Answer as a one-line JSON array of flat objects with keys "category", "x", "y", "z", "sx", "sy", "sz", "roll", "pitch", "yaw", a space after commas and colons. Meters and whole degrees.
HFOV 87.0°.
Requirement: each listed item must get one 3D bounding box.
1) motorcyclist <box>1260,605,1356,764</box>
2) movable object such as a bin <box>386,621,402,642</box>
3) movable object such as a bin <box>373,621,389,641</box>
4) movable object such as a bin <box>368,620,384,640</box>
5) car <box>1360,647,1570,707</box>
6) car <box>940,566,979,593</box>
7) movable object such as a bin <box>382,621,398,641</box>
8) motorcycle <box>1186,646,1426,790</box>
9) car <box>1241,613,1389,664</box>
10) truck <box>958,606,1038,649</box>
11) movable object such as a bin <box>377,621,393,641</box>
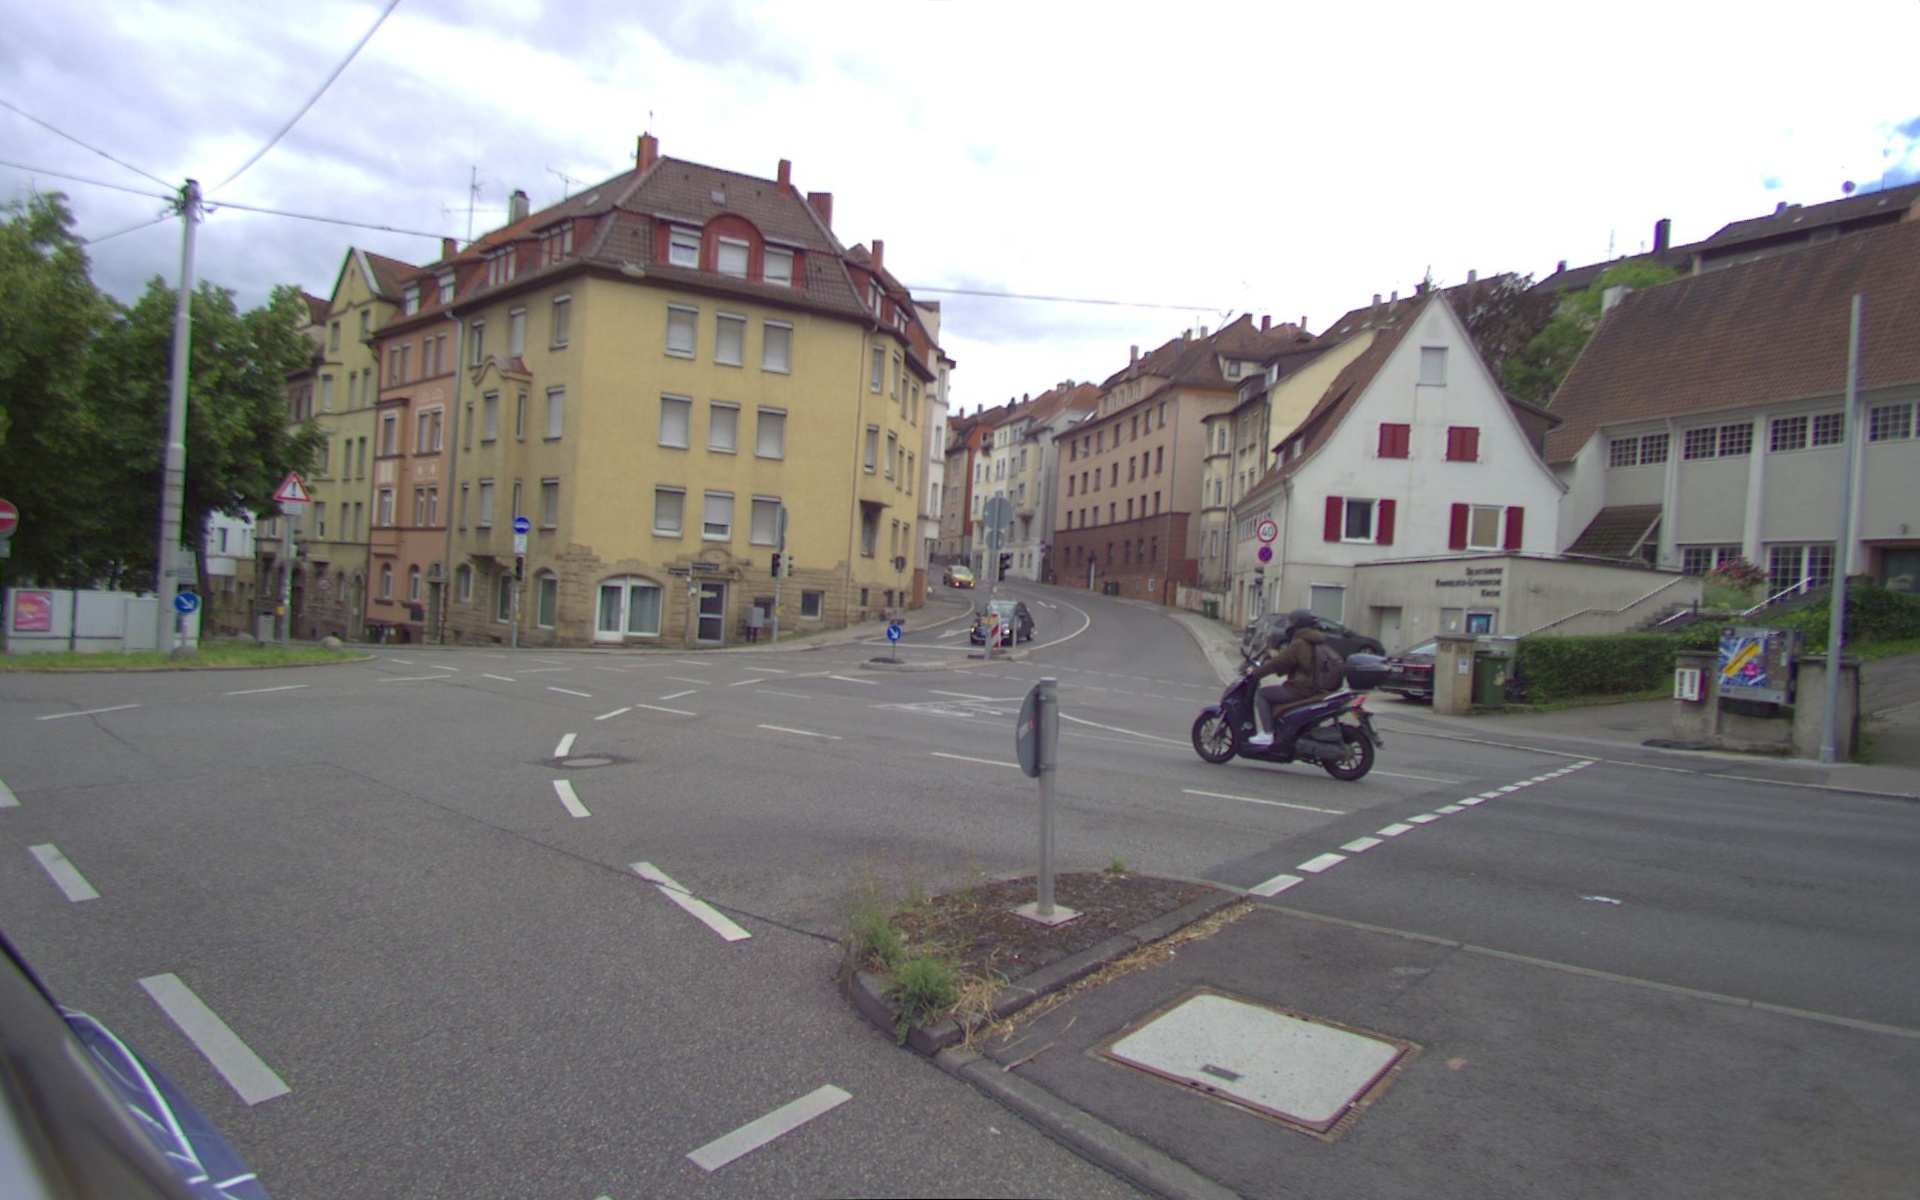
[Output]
[{"category": "motorcyclist", "x": 3.432, "y": 0.802, "z": 9.977, "sx": 0.662, "sy": 1.486, "sz": 0.665, "roll": 1, "pitch": -2, "yaw": 42}, {"category": "movable object such as a bin", "x": -24.224, "y": 1.343, "z": 43.324, "sx": 0.480, "sy": 0.871, "sz": 0.449, "roll": 4, "pitch": -4, "yaw": -44}, {"category": "movable object such as a bin", "x": -25.503, "y": 1.352, "z": 44.569, "sx": 0.480, "sy": 0.871, "sz": 0.449, "roll": 4, "pitch": -4, "yaw": -44}, {"category": "movable object such as a bin", "x": -25.993, "y": 1.354, "z": 45.023, "sx": 0.480, "sy": 0.871, "sz": 0.449, "roll": 4, "pitch": -4, "yaw": -44}, {"category": "car", "x": 11.278, "y": 1.697, "z": 22.680, "sx": 3.932, "sy": 1.198, "sz": 1.841, "roll": 1, "pitch": 0, "yaw": -15}, {"category": "car", "x": -0.068, "y": -1.475, "z": 73.321, "sx": 1.832, "sy": 1.734, "sz": 3.866, "roll": 2, "pitch": -2, "yaw": -14}, {"category": "movable object such as a bin", "x": -24.657, "y": 1.348, "z": 43.799, "sx": 0.480, "sy": 0.871, "sz": 0.449, "roll": 4, "pitch": -4, "yaw": -44}, {"category": "motorcycle", "x": 3.362, "y": 1.102, "z": 10.027, "sx": 2.205, "sy": 1.193, "sz": 0.539, "roll": 1, "pitch": -1, "yaw": 43}, {"category": "car", "x": 11.678, "y": 1.245, "z": 33.477, "sx": 4.238, "sy": 1.476, "sz": 1.683, "roll": 1, "pitch": 3, "yaw": -1}, {"category": "truck", "x": 1.433, "y": 0.966, "z": 36.414, "sx": 1.838, "sy": 1.429, "sz": 3.975, "roll": 0, "pitch": -1, "yaw": 19}, {"category": "movable object such as a bin", "x": -25.085, "y": 1.348, "z": 44.148, "sx": 0.480, "sy": 0.871, "sz": 0.449, "roll": 4, "pitch": -4, "yaw": -44}]
